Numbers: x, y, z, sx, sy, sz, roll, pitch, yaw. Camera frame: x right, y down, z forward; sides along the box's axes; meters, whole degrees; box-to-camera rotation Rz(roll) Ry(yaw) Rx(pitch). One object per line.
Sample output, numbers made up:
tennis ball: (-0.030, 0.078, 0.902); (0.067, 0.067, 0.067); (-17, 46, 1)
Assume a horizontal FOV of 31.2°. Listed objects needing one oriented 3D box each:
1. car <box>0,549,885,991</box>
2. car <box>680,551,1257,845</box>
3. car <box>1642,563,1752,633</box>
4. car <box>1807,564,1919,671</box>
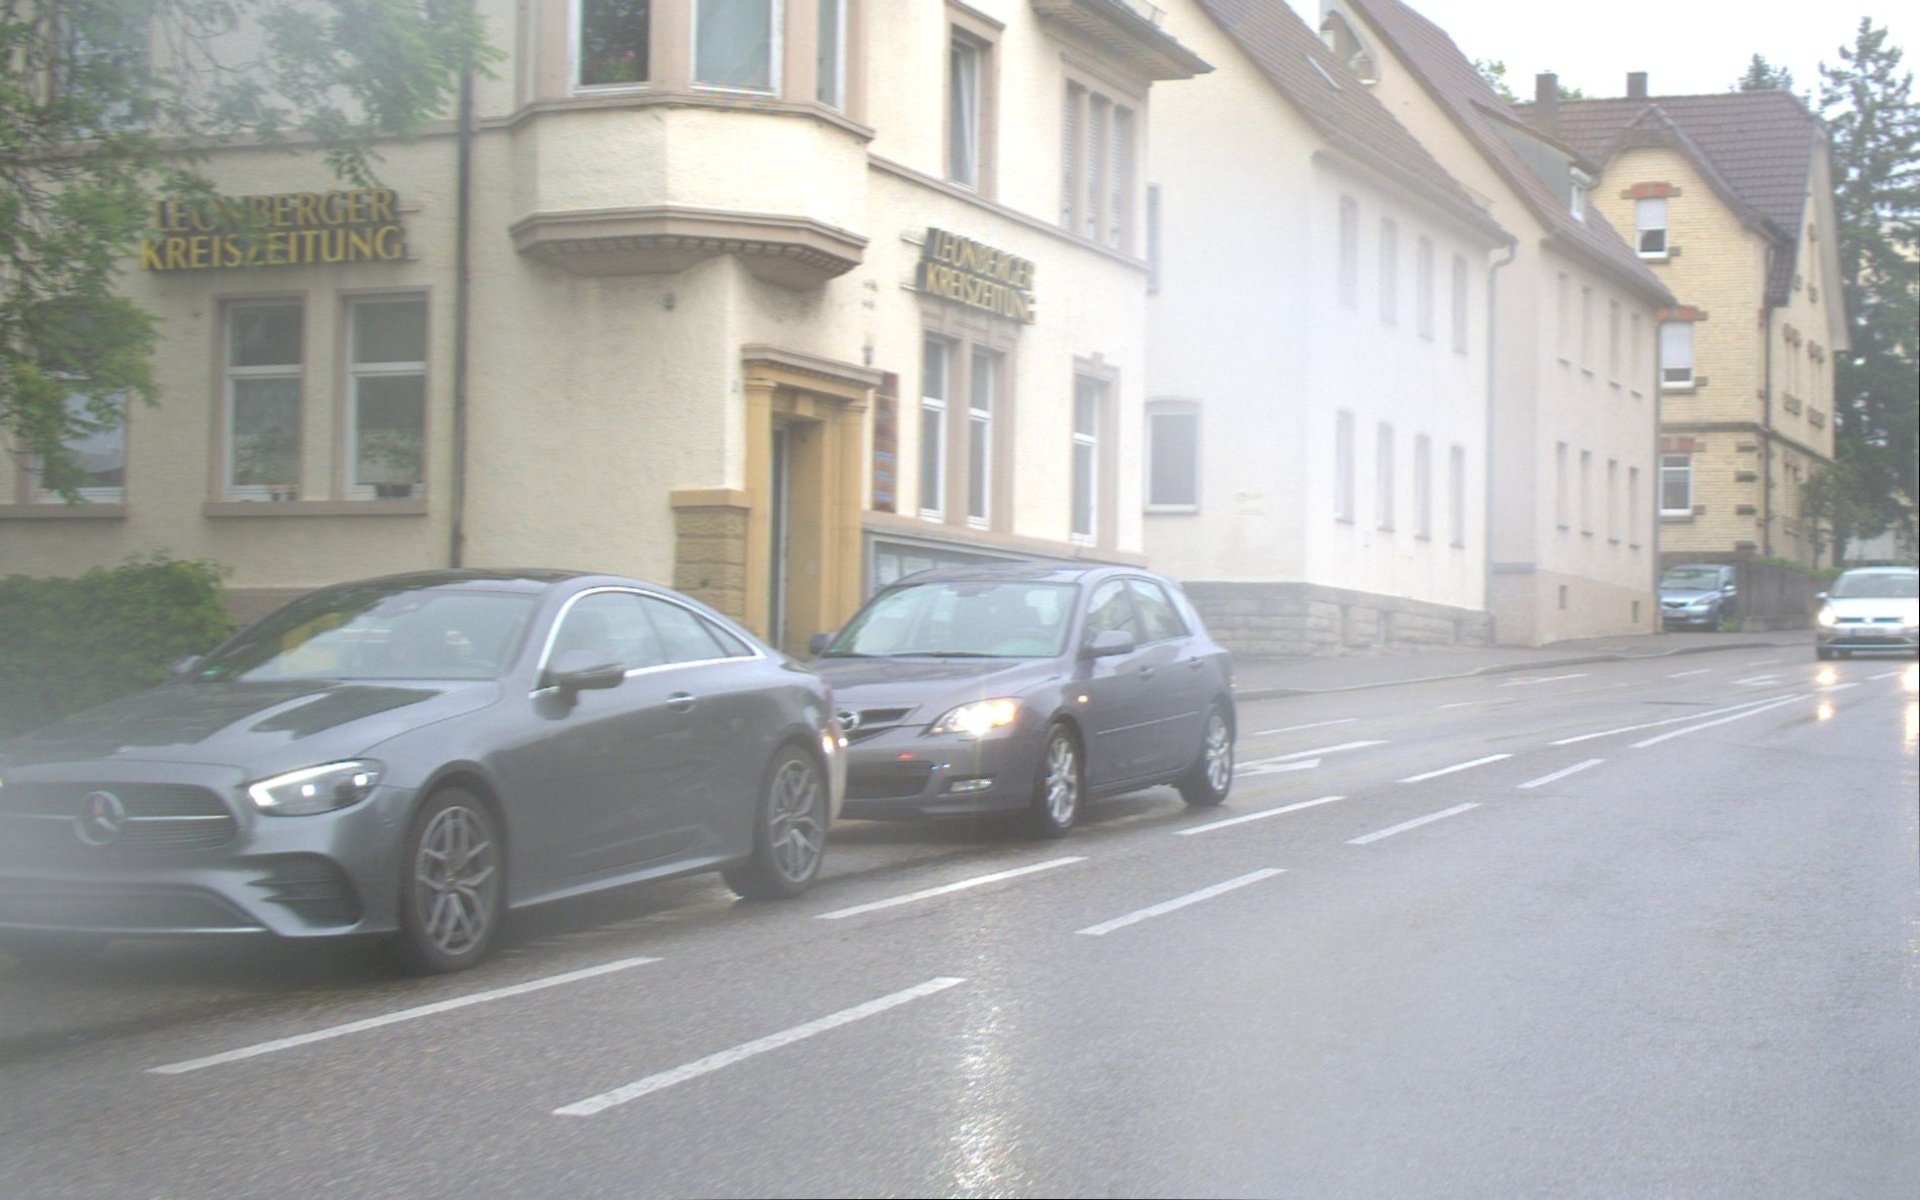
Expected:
car: (-2.017, 0.558, 13.685); (1.775, 1.447, 4.534); (-1, 0, 22)
car: (0.182, 0.483, 19.193); (1.775, 1.447, 4.181); (-1, 0, 22)
car: (16.182, -0.058, 75.445); (1.692, 1.448, 3.228); (2, 1, 24)
car: (14.667, 0.257, 54.922); (1.631, 1.593, 3.228); (2, 1, 24)
